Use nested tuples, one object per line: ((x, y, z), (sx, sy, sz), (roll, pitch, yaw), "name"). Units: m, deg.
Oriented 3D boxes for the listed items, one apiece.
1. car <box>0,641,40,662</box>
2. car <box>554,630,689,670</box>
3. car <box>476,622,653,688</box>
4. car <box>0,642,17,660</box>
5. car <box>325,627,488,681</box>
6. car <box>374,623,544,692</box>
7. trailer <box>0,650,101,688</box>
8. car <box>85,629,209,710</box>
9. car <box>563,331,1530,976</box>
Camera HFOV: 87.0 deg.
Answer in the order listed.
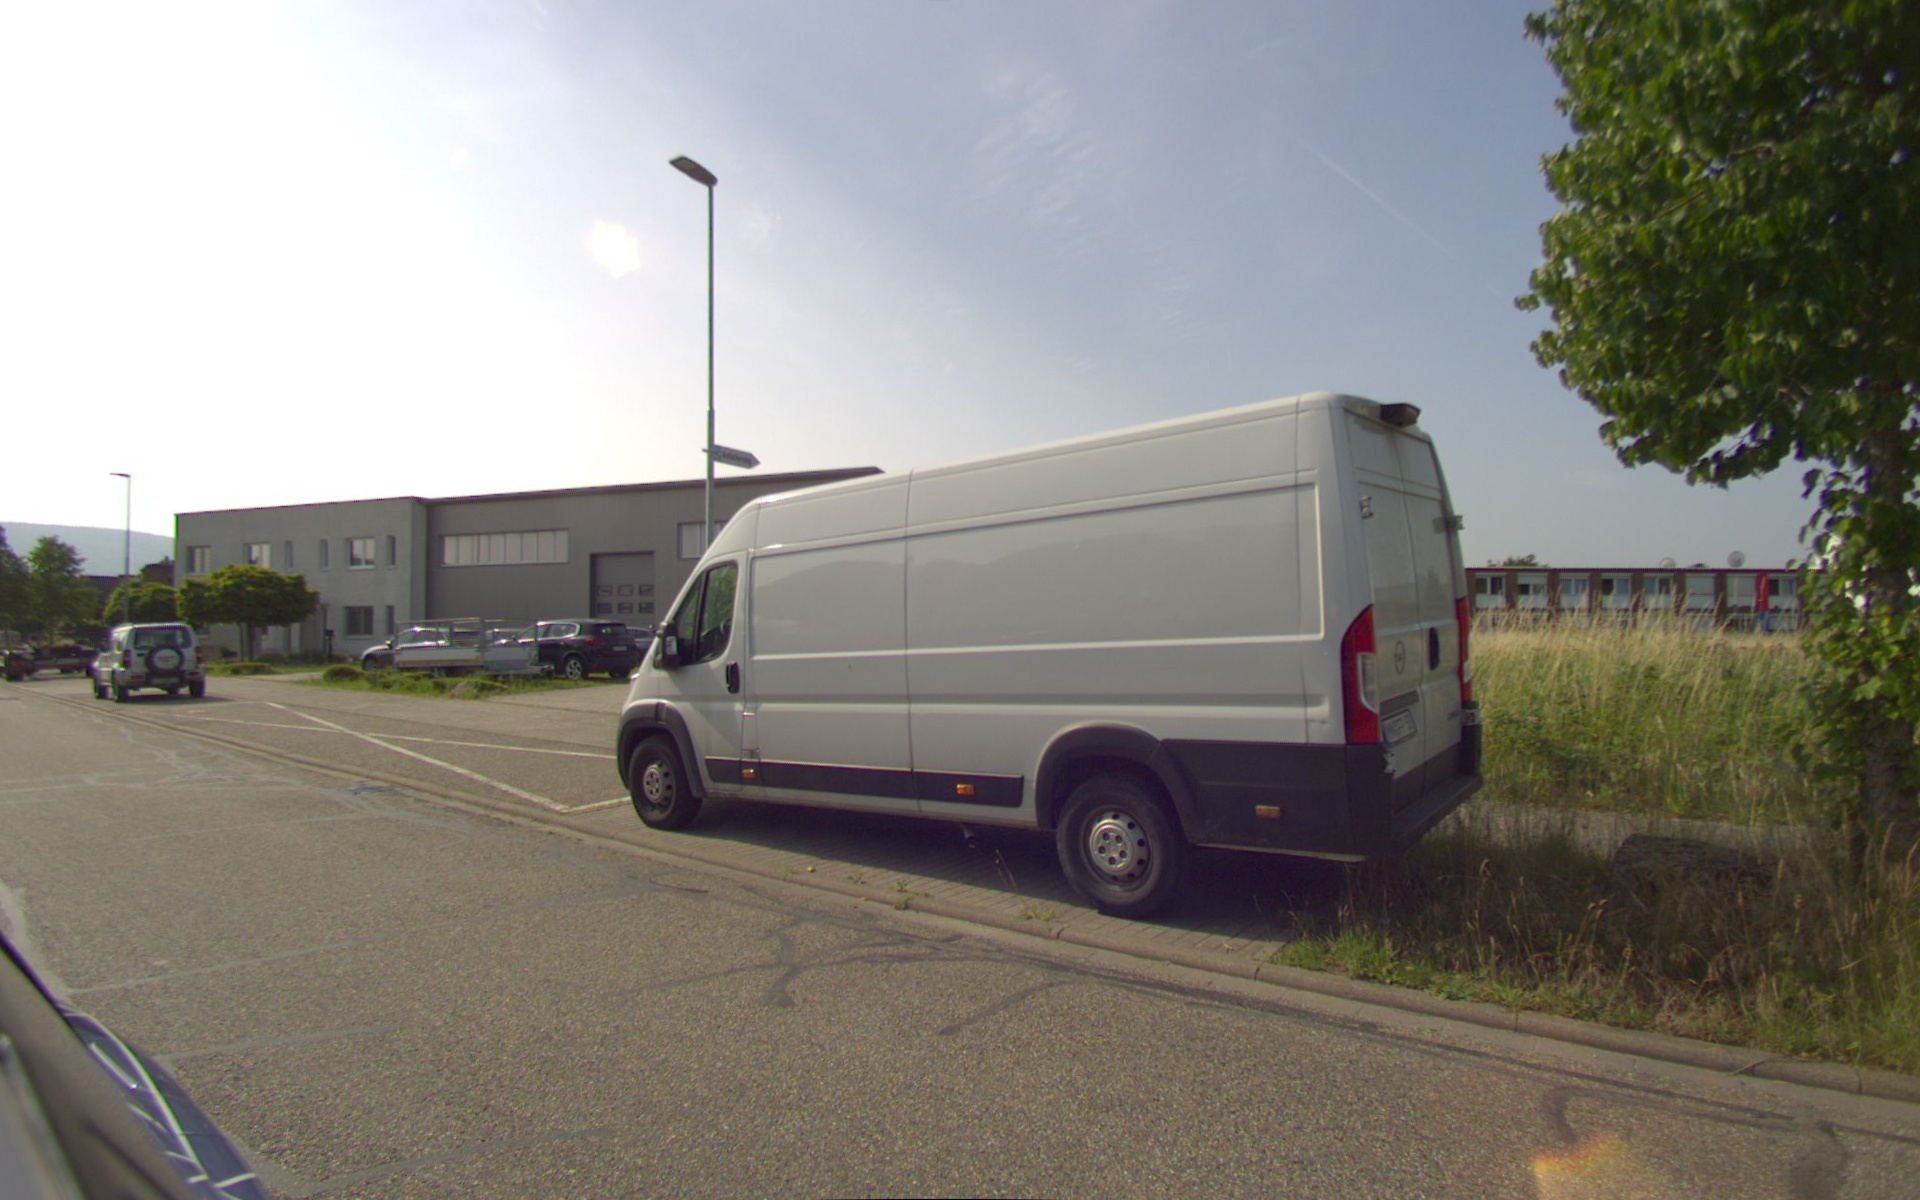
((-81.550, 4.409, 86.627), (1.999, 1.741, 3.945), (-3, -3, 41), "car")
((-12.000, 1.781, 35.905), (4.320, 1.335, 1.981), (-1, -2, 22), "car")
((-10.714, 1.475, 27.423), (4.394, 1.671, 1.980), (-2, -2, 24), "car")
((-98.406, 5.177, 102.352), (1.985, 1.807, 3.974), (-1, -2, 19), "car")
((-16.245, 1.557, 29.711), (4.394, 1.488, 1.966), (-2, -2, 24), "car")
((-12.473, 1.408, 25.205), (3.794, 1.584, 1.824), (-2, -1, 24), "car")
((-32.931, 2.389, 35.751), (9.726, 1.082, 2.519), (-3, -2, 41), "trailer")
((-18.494, 1.537, 22.970), (3.642, 1.663, 1.580), (-3, -2, 41), "car")
((0.019, 0.293, 6.948), (6.495, 2.614, 2.082), (-2, -1, 38), "car")
